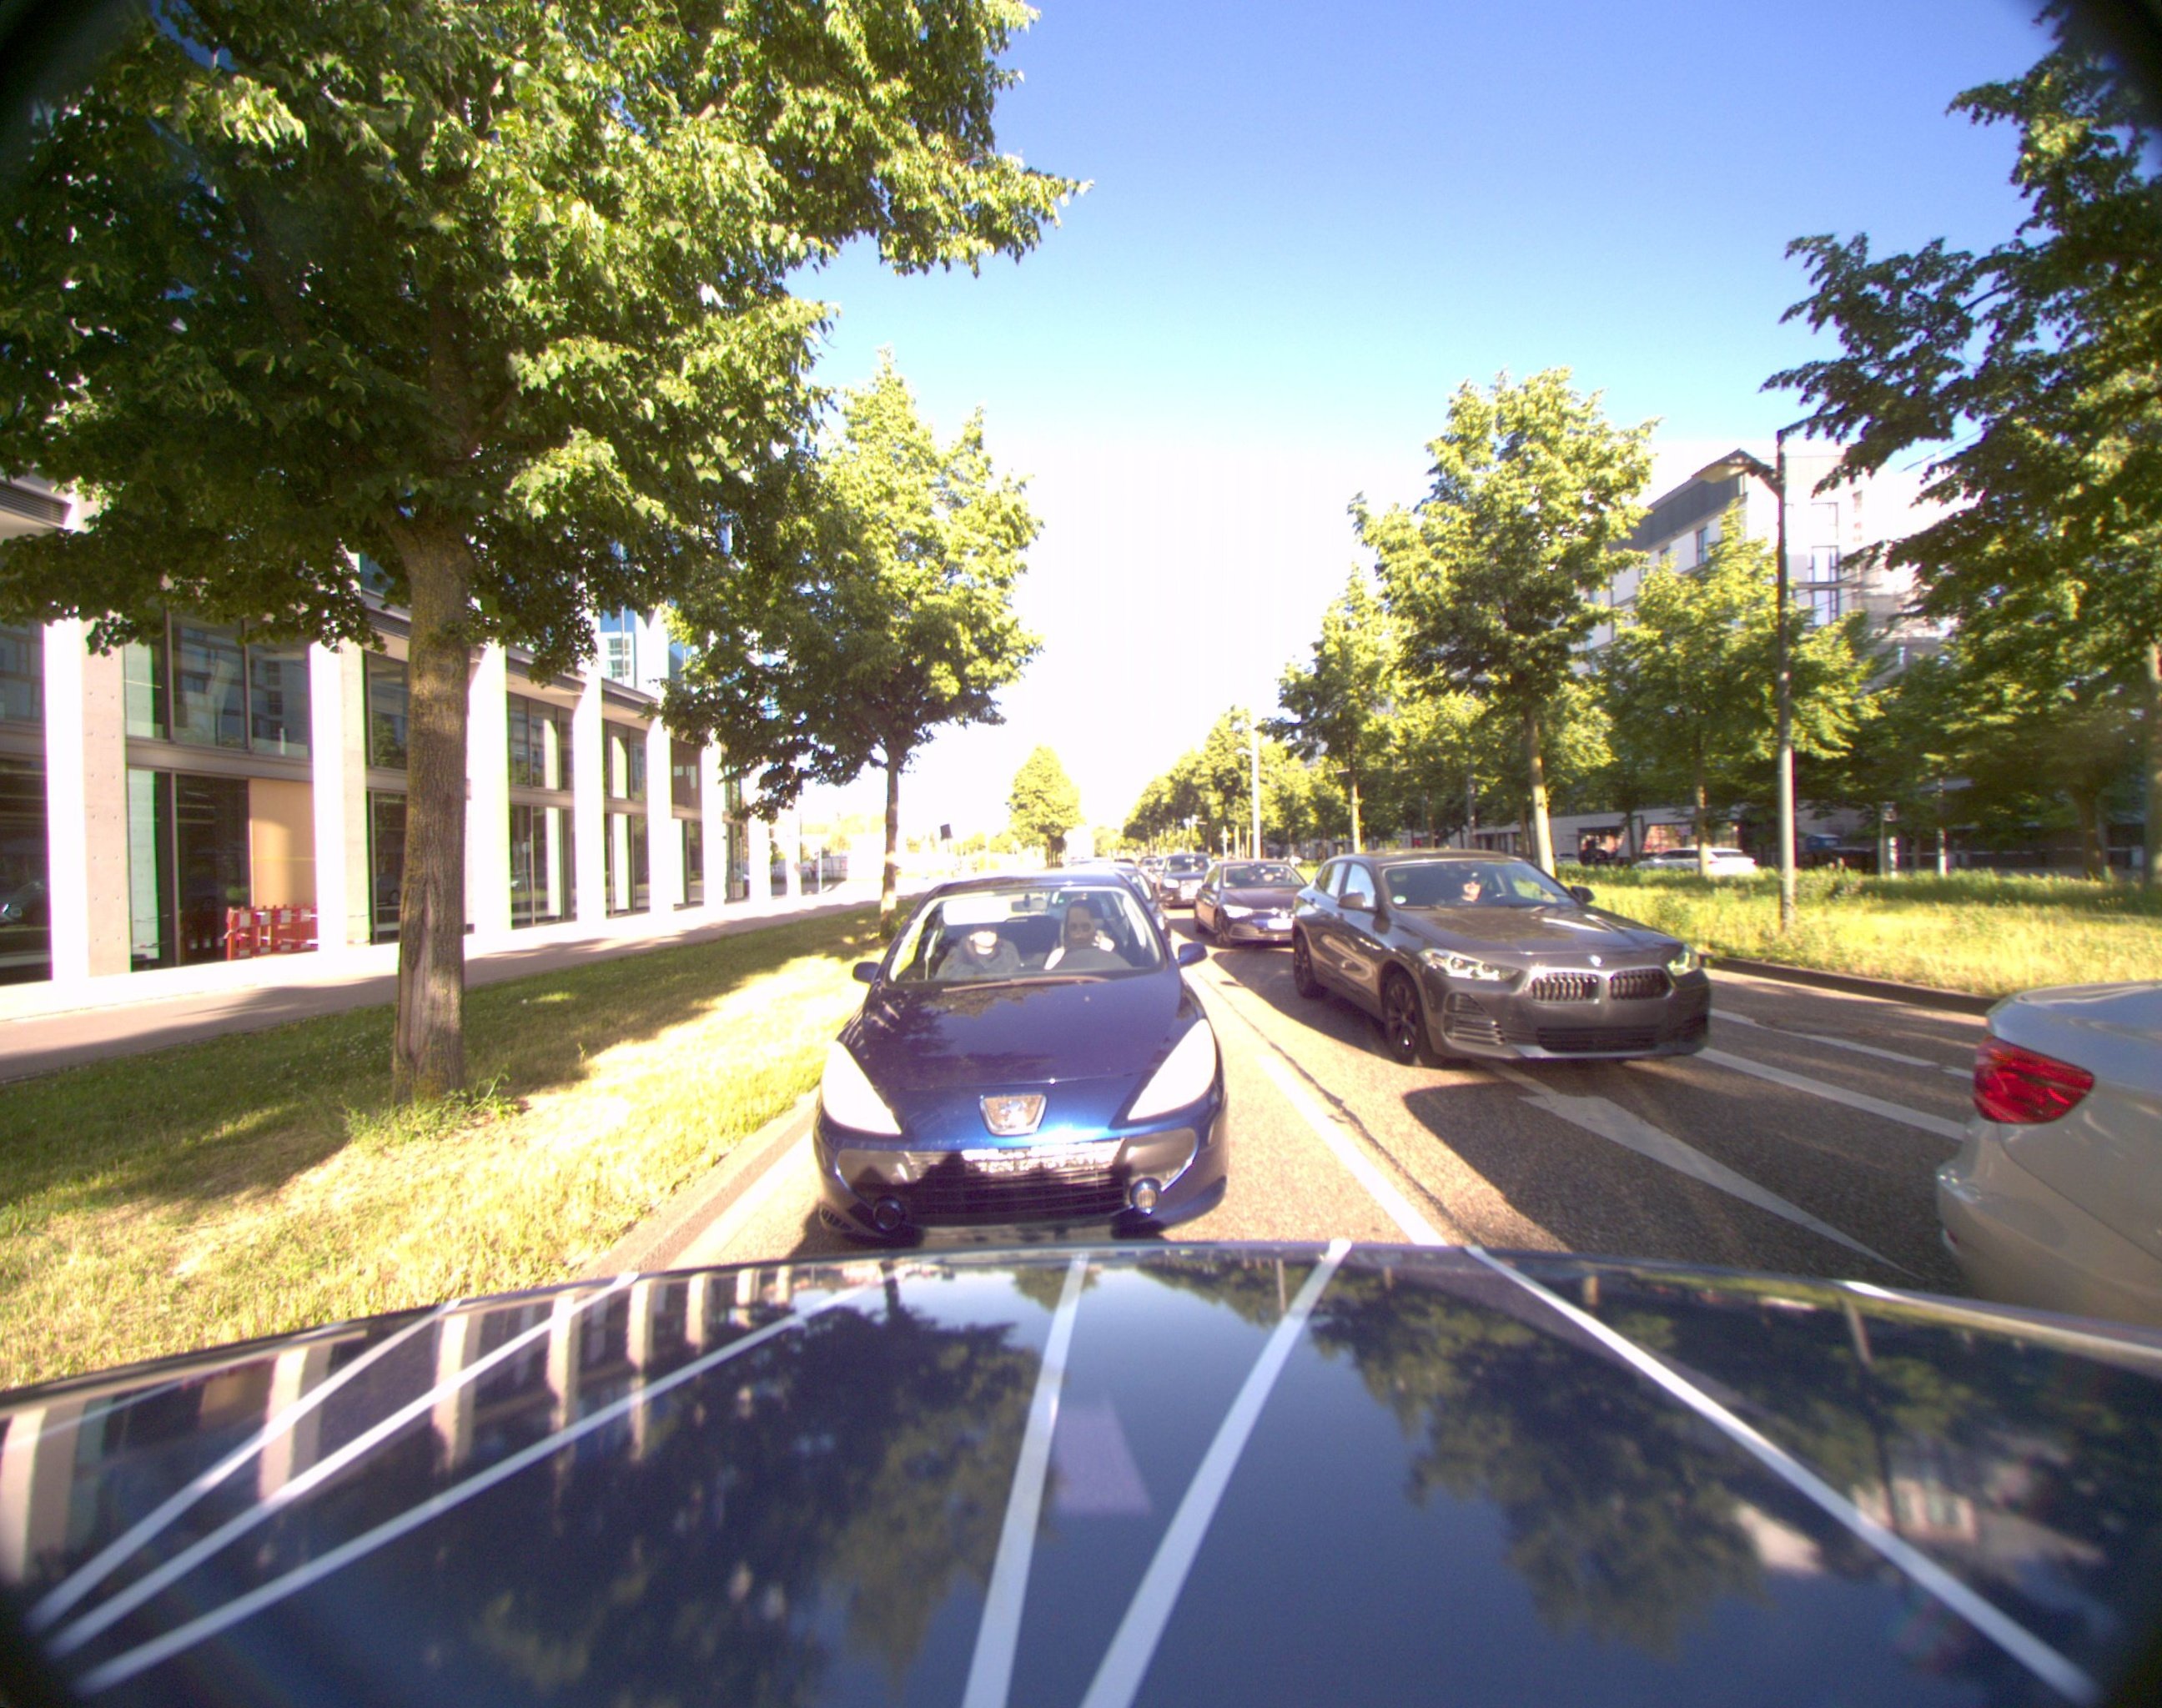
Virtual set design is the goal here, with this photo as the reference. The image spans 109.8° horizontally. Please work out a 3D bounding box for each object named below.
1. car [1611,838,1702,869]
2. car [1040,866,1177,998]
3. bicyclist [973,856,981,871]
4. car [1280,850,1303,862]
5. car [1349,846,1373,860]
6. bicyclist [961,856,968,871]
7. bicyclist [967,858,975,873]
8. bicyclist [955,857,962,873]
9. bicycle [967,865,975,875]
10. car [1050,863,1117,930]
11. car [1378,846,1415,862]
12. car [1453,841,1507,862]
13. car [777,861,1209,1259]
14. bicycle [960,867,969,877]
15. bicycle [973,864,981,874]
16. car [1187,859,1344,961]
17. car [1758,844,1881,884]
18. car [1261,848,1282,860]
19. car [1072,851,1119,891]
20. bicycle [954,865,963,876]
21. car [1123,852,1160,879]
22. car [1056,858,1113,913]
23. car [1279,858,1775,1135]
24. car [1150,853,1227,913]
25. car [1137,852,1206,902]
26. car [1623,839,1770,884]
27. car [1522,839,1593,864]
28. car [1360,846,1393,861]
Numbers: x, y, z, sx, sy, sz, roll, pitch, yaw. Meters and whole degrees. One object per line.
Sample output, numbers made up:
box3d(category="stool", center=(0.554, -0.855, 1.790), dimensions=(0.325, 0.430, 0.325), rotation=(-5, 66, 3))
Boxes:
box3d(category="car", center=(34.416, -0.032, 45.605), dimensions=(1.858, 1.674, 4.792), rotation=(-1, 0, 1))
box3d(category="car", center=(0.362, 0.976, 11.348), dimensions=(1.612, 1.463, 4.395), rotation=(-1, 0, 1))
box3d(category="bicyclist", center=(-9.266, 0.843, 67.645), dimensions=(0.534, 1.282, 0.521), rotation=(-2, 1, 1))
box3d(category="car", center=(25.421, 0.238, 91.959), dimensions=(1.666, 1.384, 4.000), rotation=(-1, 0, 1))
box3d(category="car", center=(34.700, -0.151, 94.203), dimensions=(1.601, 1.659, 3.743), rotation=(-1, 0, 1))
box3d(category="bicyclist", center=(-10.397, 0.817, 67.772), dimensions=(0.534, 1.282, 0.457), rotation=(-2, 1, 1))
box3d(category="bicyclist", center=(-9.167, 0.922, 63.400), dimensions=(0.534, 1.210, 0.507), rotation=(-2, 1, 1))
box3d(category="bicyclist", center=(-10.272, 0.927, 63.562), dimensions=(0.448, 1.282, 0.418), rotation=(-2, 1, 1))
box3d(category="bicycle", center=(-9.171, 1.347, 63.303), dimensions=(0.464, 0.813, 1.344), rotation=(-2, 1, 1))
box3d(category="car", center=(0.079, 0.935, 18.104), dimensions=(1.407, 1.326, 3.785), rotation=(-1, 0, 1))
box3d(category="car", center=(34.660, 0.010, 83.568), dimensions=(2.012, 1.689, 4.791), rotation=(-1, 0, -1))
box3d(category="car", center=(34.627, -0.203, 66.069), dimensions=(2.012, 1.689, 4.791), rotation=(-1, 0, -3))
box3d(category="car", center=(-0.326, 0.844, 4.927), dimensions=(1.686, 1.513, 3.785), rotation=(-1, 0, 1))
box3d(category="bicycle", center=(-10.399, 1.573, 67.810), dimensions=(0.464, 0.813, 1.344), rotation=(-2, 1, 1))
box3d(category="bicycle", center=(-9.224, 1.314, 67.552), dimensions=(0.464, 0.813, 1.344), rotation=(-2, 1, 1))
box3d(category="car", center=(3.045, 0.851, 13.434), dimensions=(1.812, 1.445, 4.254), rotation=(-1, 0, 2))
box3d(category="car", center=(34.168, 0.434, 35.310), dimensions=(1.858, 1.739, 4.000), rotation=(-1, 0, 1))
box3d(category="car", center=(28.391, 0.005, 113.318), dimensions=(1.858, 1.719, 4.792), rotation=(-1, 0, 1))
box3d(category="car", center=(0.626, 0.731, 35.753), dimensions=(2.012, 1.689, 4.791), rotation=(-1, 0, -1))
box3d(category="bicycle", center=(-10.244, 1.385, 63.569), dimensions=(0.415, 0.813, 1.320), rotation=(-2, 1, 1))
box3d(category="car", center=(3.931, 0.733, 50.269), dimensions=(2.012, 1.689, 4.791), rotation=(-1, 0, -1))
box3d(category="car", center=(0.144, 0.978, 25.088), dimensions=(1.705, 1.591, 3.785), rotation=(-1, 0, 1))
box3d(category="car", center=(3.079, 0.830, 6.364), dimensions=(1.812, 1.513, 4.029), rotation=(-1, 0, 1))
box3d(category="car", center=(3.123, 0.799, 22.746), dimensions=(1.812, 1.581, 4.165), rotation=(-1, 0, 2))
box3d(category="car", center=(3.374, 0.806, 29.224), dimensions=(2.012, 1.689, 4.791), rotation=(-1, 0, -1))
box3d(category="car", center=(23.457, 0.260, 29.248), dimensions=(1.858, 1.528, 4.735), rotation=(-1, 0, 1))
box3d(category="car", center=(34.829, -0.164, 55.730), dimensions=(2.012, 1.689, 4.791), rotation=(-1, 0, -3))
box3d(category="car", center=(34.691, -0.040, 89.375), dimensions=(2.012, 1.689, 4.791), rotation=(-1, 0, -1))
